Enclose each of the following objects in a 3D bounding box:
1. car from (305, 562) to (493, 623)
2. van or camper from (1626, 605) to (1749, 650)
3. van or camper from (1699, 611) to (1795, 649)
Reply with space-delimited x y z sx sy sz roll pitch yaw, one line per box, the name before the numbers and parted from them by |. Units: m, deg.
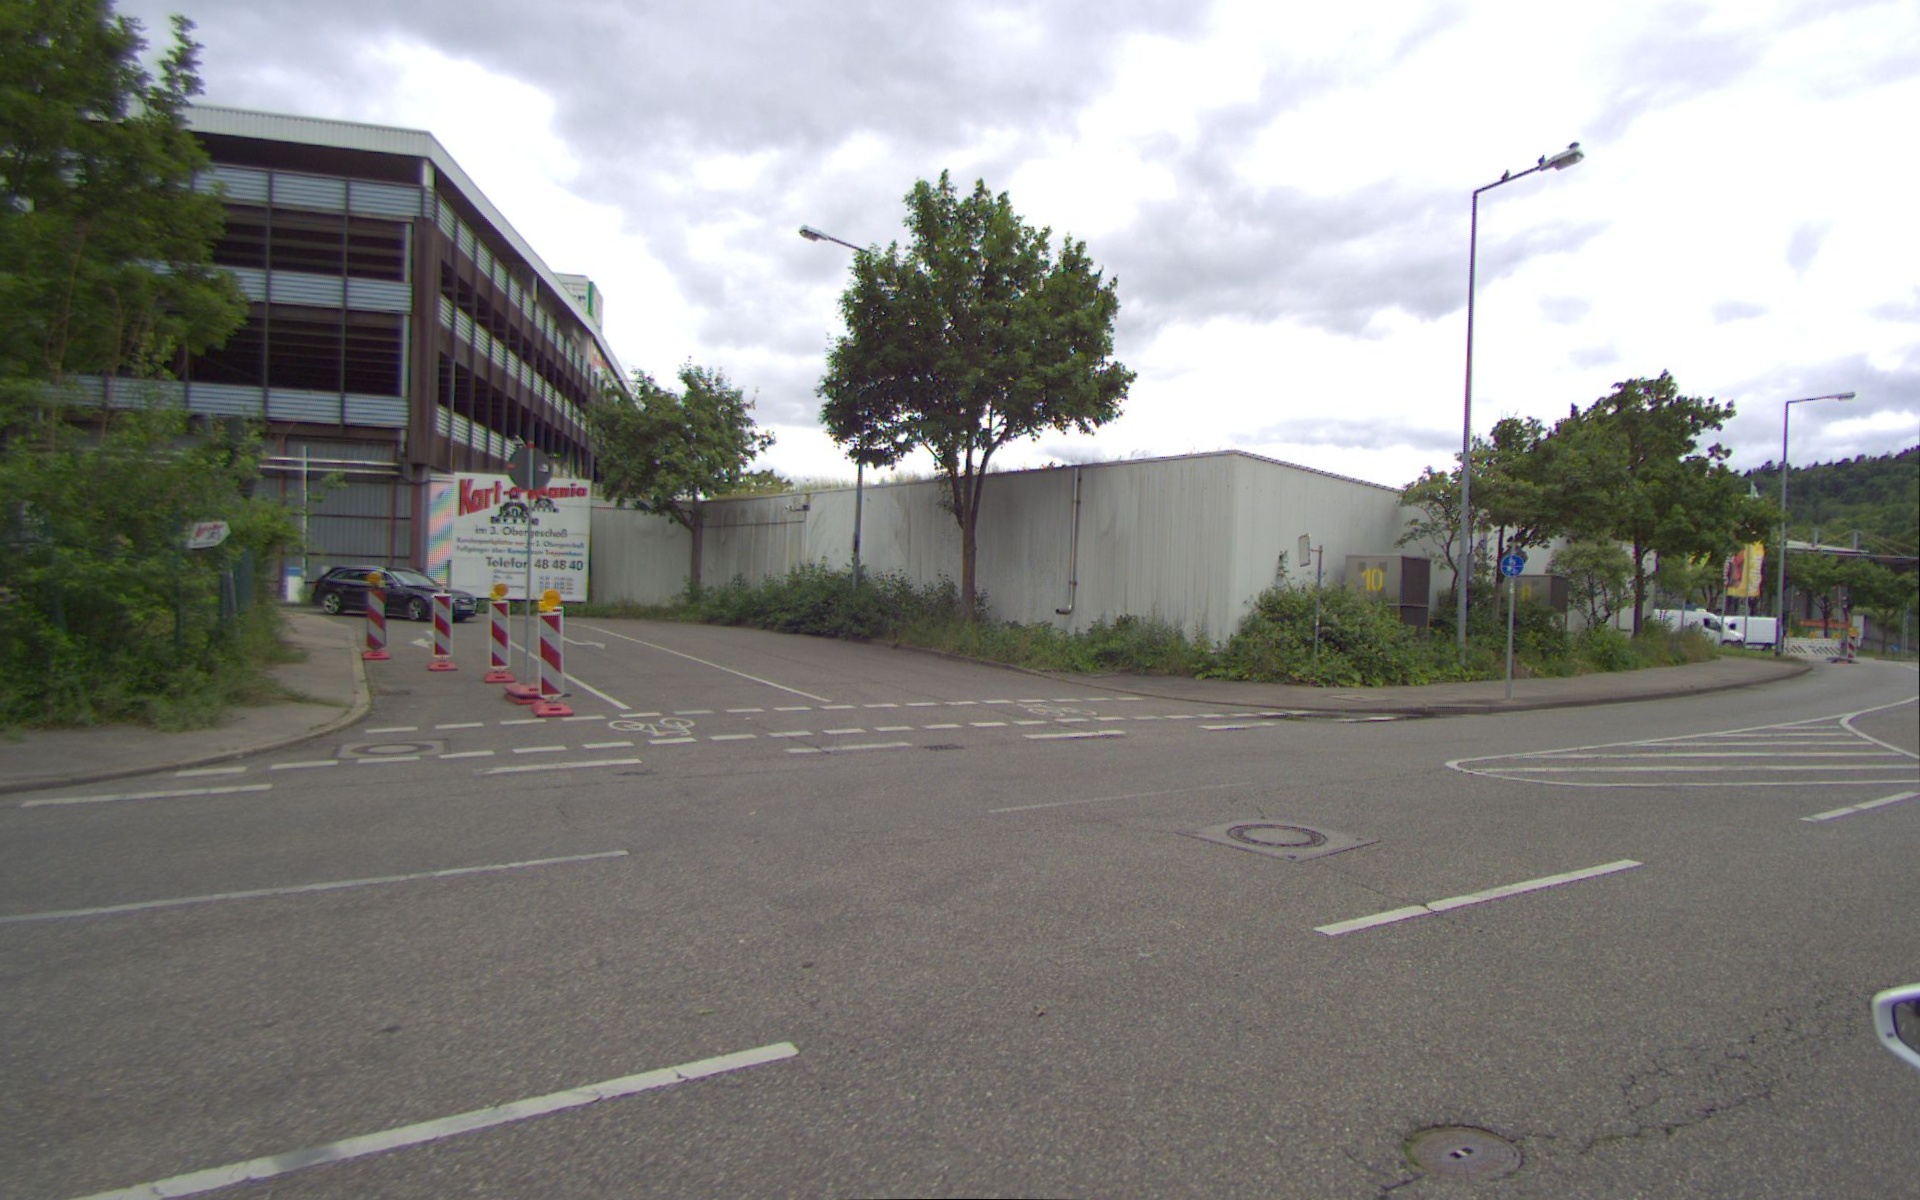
car | -15.735 -0.219 28.301 4.300 1.427 1.802 3 1 5
van or camper | 46.067 1.730 63.694 5.919 2.276 2.383 6 2 43
van or camper | 58.501 2.230 74.674 6.542 2.356 2.009 4 0 -14
